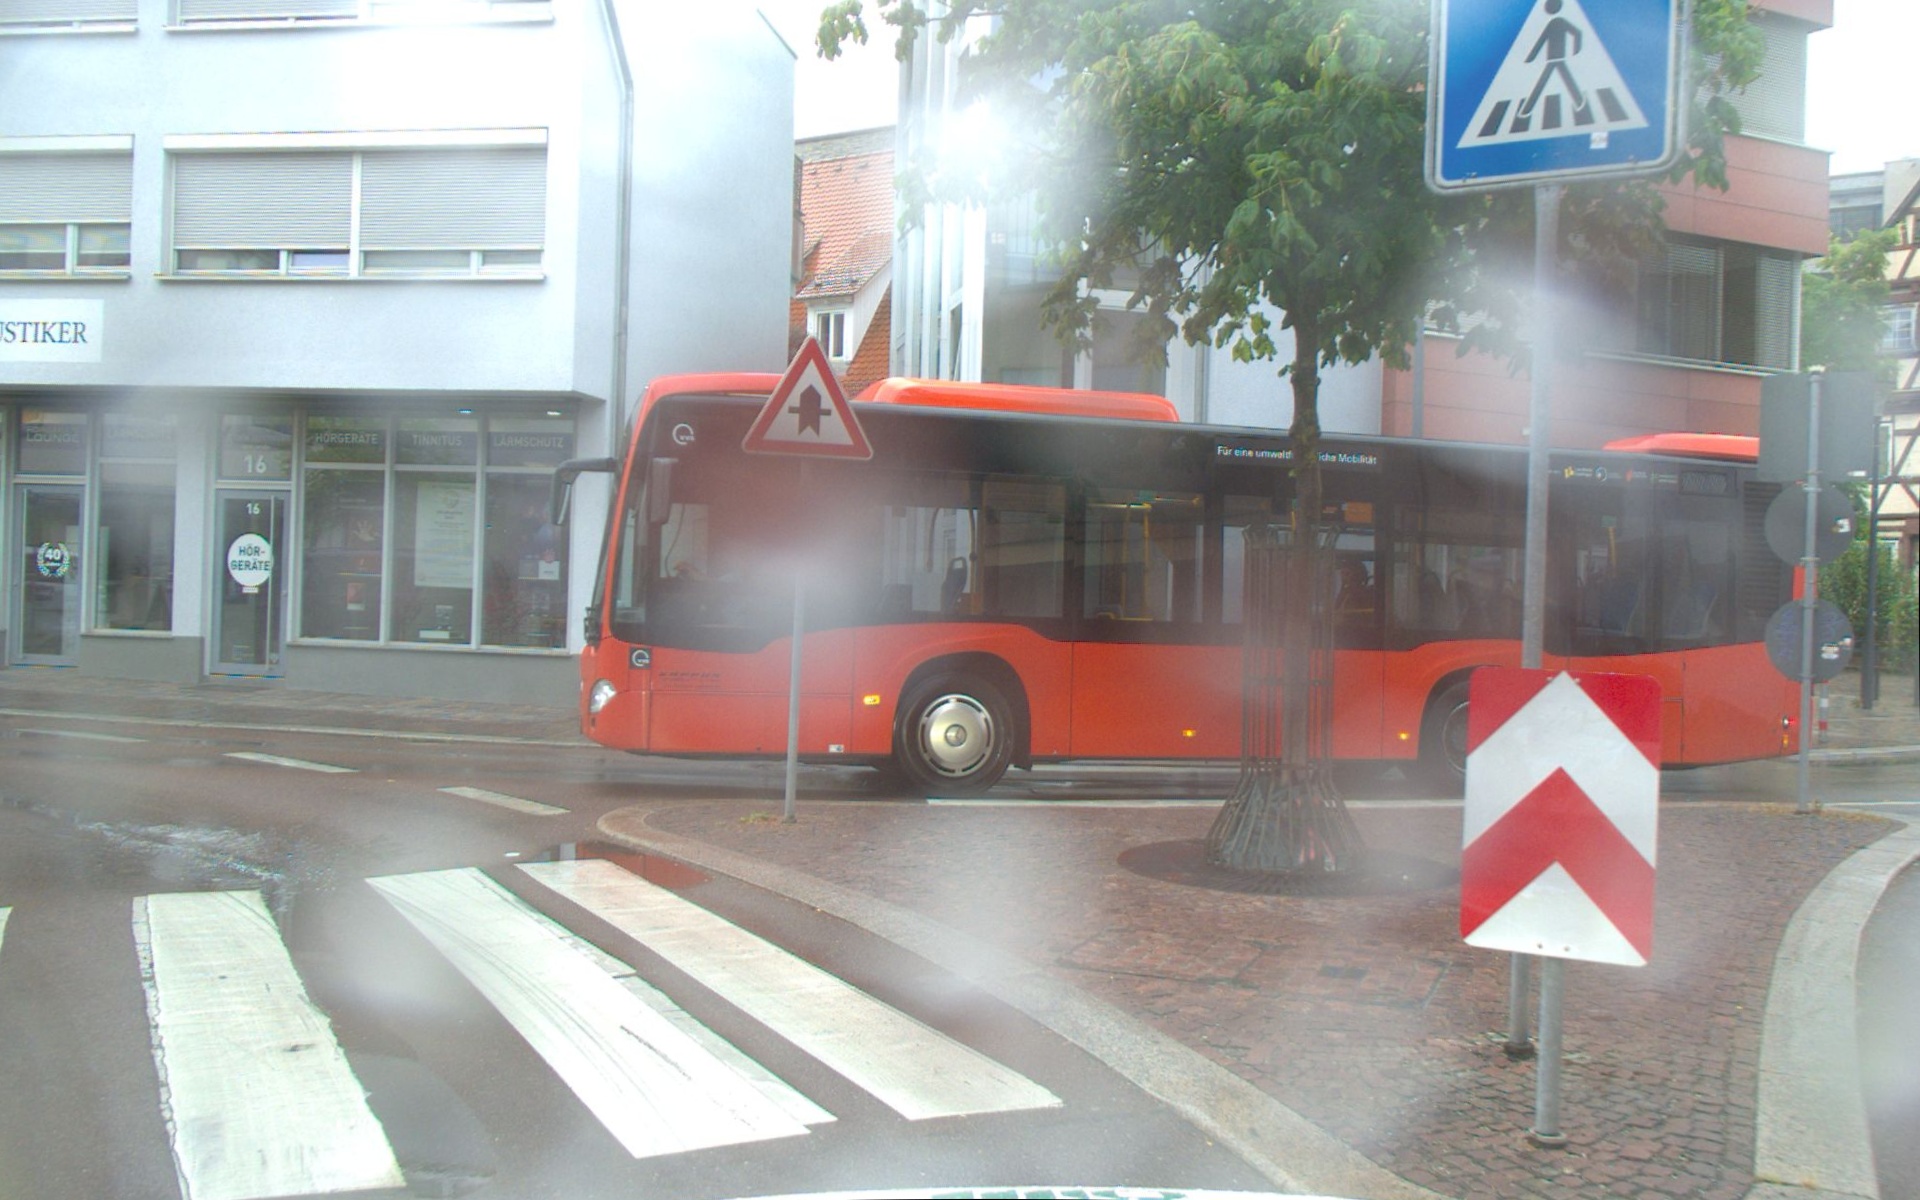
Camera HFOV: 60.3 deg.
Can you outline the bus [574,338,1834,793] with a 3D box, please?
[{"bbox_3d":[2.096,-0.105,14.138,10.396,3.143,2.811,1,-1,-15],"label":"bus"}]
